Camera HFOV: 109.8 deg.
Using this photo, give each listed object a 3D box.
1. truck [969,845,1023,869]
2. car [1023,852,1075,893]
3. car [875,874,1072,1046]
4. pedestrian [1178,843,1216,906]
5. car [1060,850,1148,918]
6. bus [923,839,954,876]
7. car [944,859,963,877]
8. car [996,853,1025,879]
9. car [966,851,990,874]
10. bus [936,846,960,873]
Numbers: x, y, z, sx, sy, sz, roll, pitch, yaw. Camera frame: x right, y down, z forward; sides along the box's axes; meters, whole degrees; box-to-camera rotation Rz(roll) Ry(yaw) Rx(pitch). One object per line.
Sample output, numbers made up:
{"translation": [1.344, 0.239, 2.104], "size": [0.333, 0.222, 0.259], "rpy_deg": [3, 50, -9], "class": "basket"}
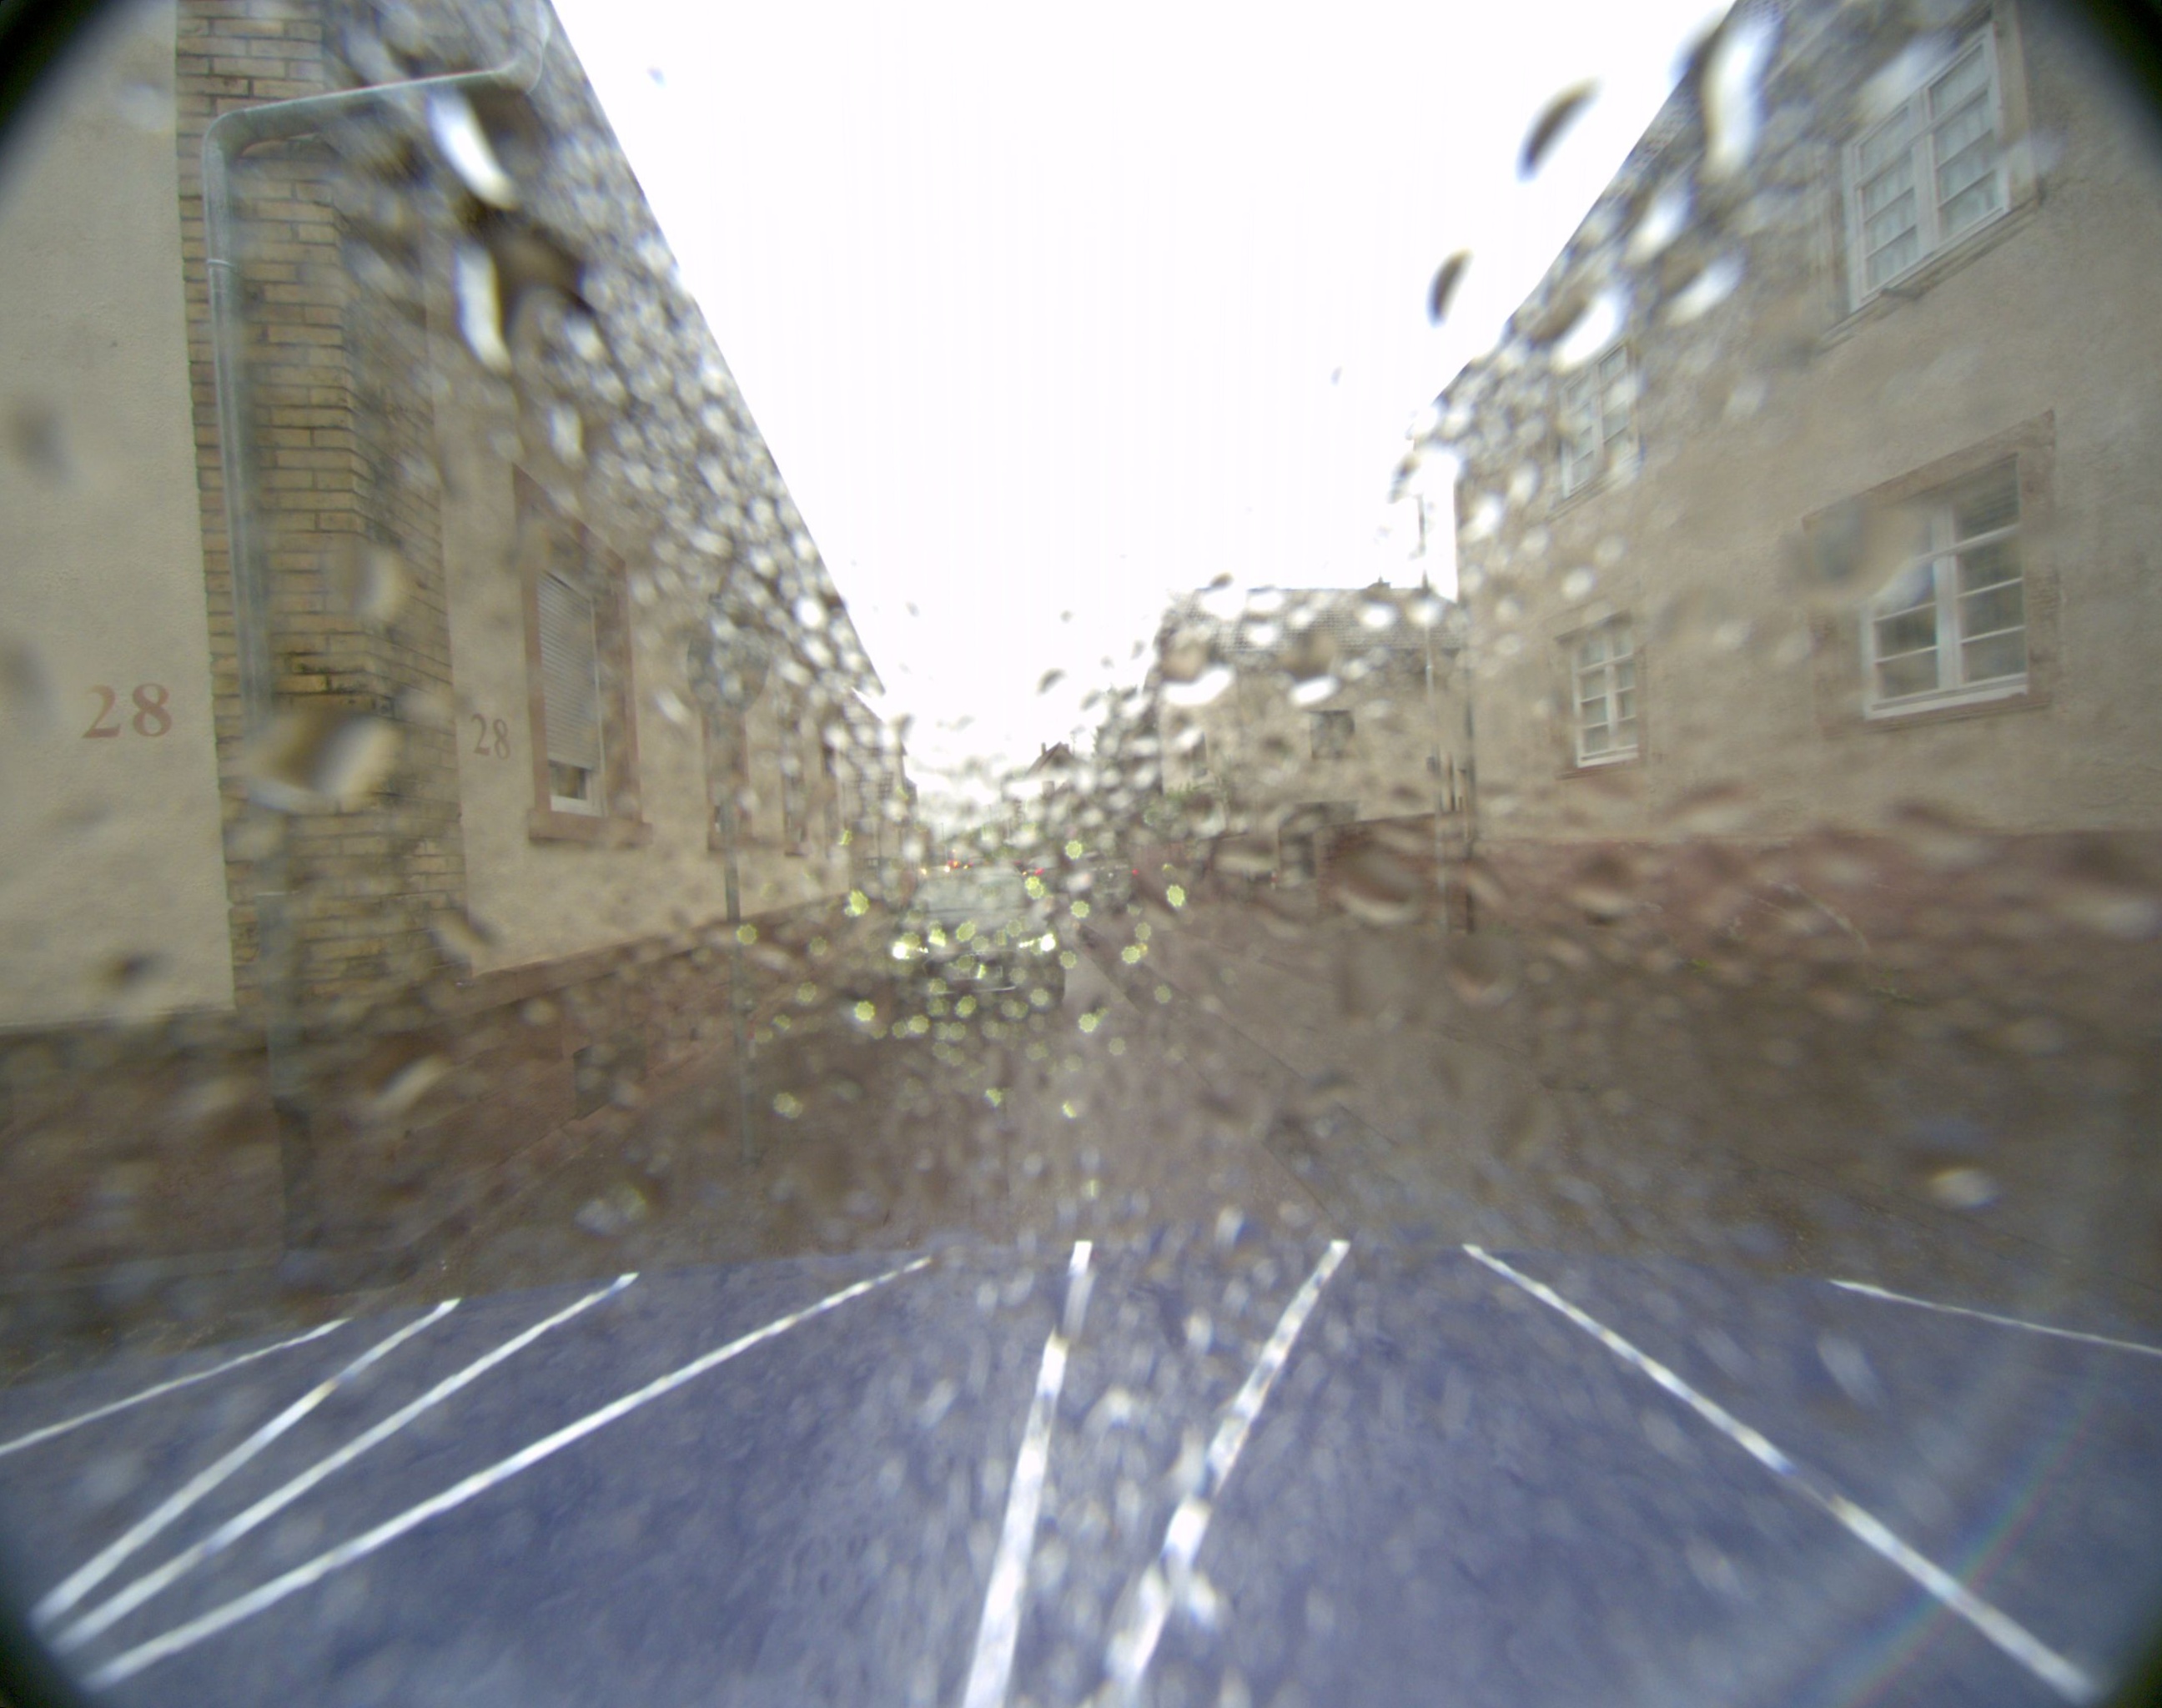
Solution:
{"translation": [-9.578, 0.298, 85.937], "size": [5.660, 2.490, 1.995], "rpy_deg": [-3, 1, -35], "class": "truck"}
{"translation": [-1.391, 0.718, 31.484], "size": [1.701, 1.500, 4.338], "rpy_deg": [-2, 1, -7], "class": "car"}
{"translation": [-1.284, 1.015, 9.027], "size": [1.740, 1.363, 4.098], "rpy_deg": [-2, 1, -9], "class": "car"}
{"translation": [2.979, 0.517, 19.546], "size": [0.574, 1.529, 0.832], "rpy_deg": [-5, 1, -11], "class": "pedestrian"}
{"translation": [0.505, 0.704, 19.851], "size": [1.609, 1.504, 3.685], "rpy_deg": [-4, 1, -8], "class": "car"}
{"translation": [-14.164, 0.263, 74.886], "size": [2.670, 3.213, 12.178], "rpy_deg": [-2, 1, -12], "class": "bus"}
{"translation": [-15.403, 1.684, 91.928], "size": [2.001, 2.002, 3.995], "rpy_deg": [-2, 1, -13], "class": "car"}
{"translation": [-4.680, 0.764, 50.363], "size": [1.627, 1.502, 3.790], "rpy_deg": [-6, 1, -7], "class": "car"}
{"translation": [-8.523, 0.674, 62.708], "size": [1.786, 1.655, 4.422], "rpy_deg": [-5, 2, -8], "class": "car"}
{"translation": [-17.840, 0.681, 101.572], "size": [2.670, 3.213, 12.178], "rpy_deg": [-2, 1, -12], "class": "bus"}
